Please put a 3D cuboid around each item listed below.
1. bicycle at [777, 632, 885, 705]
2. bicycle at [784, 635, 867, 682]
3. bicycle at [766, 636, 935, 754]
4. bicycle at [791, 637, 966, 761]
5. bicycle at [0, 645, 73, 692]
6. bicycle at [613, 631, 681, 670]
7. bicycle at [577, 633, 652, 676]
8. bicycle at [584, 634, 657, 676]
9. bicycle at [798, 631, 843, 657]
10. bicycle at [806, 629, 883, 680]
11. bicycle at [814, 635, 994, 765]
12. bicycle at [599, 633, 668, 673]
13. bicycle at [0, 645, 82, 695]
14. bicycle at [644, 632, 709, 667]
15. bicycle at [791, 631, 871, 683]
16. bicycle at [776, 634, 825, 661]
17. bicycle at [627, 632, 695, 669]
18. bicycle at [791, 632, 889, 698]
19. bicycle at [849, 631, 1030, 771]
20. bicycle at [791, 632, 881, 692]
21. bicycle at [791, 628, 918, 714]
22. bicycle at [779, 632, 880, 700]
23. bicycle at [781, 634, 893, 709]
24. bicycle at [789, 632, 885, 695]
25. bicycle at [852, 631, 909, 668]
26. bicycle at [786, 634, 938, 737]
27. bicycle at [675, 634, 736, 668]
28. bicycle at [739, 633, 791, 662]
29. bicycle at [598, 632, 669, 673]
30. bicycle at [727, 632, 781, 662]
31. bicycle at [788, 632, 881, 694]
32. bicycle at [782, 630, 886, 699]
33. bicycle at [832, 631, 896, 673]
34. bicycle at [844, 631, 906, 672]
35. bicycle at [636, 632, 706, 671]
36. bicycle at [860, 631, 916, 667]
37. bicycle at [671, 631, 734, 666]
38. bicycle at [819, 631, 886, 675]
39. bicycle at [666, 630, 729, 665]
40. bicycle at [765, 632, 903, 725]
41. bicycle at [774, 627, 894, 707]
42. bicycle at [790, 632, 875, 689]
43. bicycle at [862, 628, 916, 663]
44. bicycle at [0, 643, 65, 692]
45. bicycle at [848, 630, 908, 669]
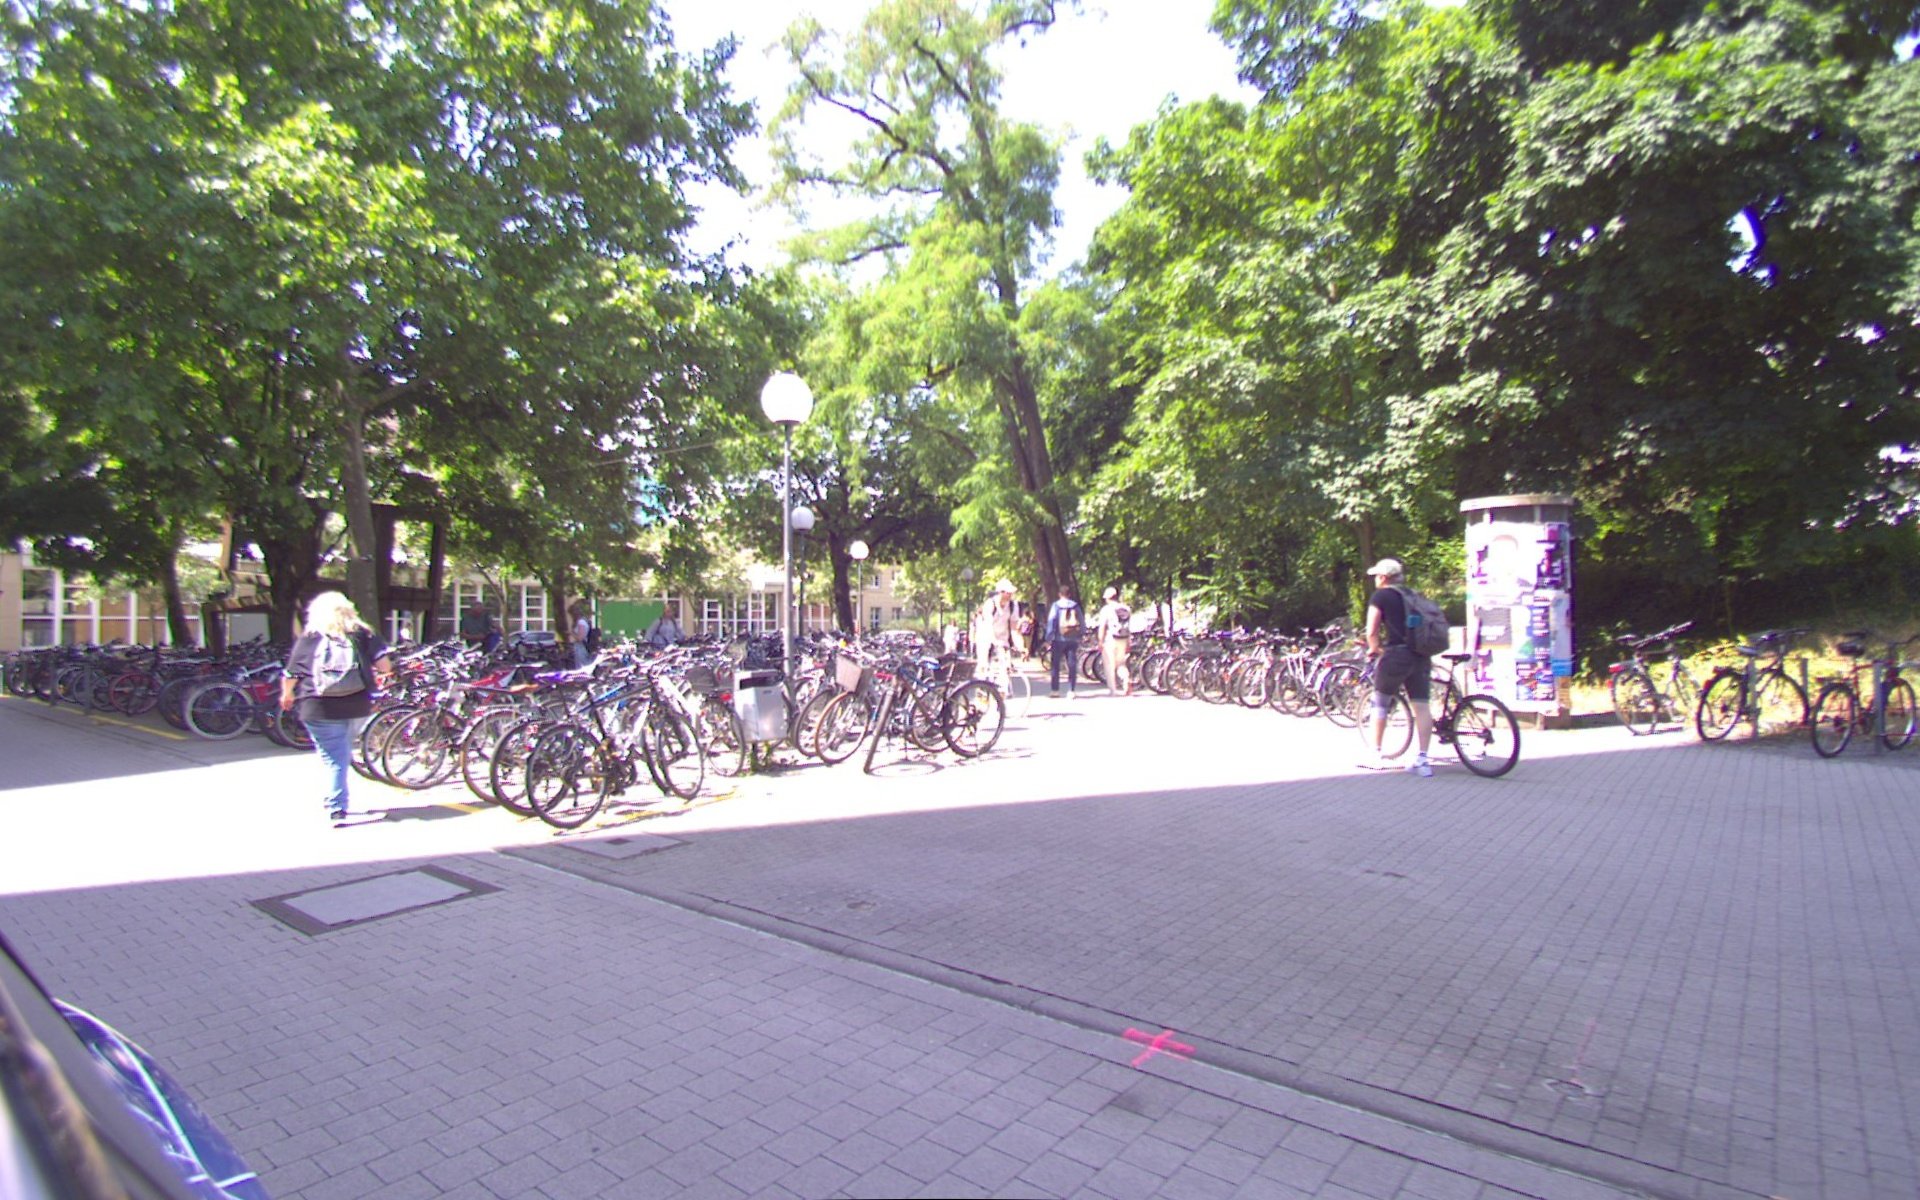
[{"bbox_3d":[-2.082,1.086,16.345,1.671,1.092,0.475,-1,-1,-15],"label":"bicycle"},{"bbox_3d":[-2.874,1.249,21.692,1.716,0.969,0.452,-1,-1,1],"label":"bicycle"},{"bbox_3d":[-1.107,0.942,10.414,1.671,1.092,0.475,-1,-1,-31],"label":"bicycle"},{"bbox_3d":[-0.791,0.940,10.001,1.671,1.092,0.475,-1,-1,-31],"label":"bicycle"},{"bbox_3d":[-23.098,1.691,25.090,0.496,1.116,1.608,-5,-4,39],"label":"bicycle"},{"bbox_3d":[-9.200,1.487,29.758,1.885,1.116,0.501,-1,-1,10],"label":"bicycle"},{"bbox_3d":[-9.336,1.464,27.351,1.883,1.116,0.502,-1,-1,7],"label":"bicycle"},{"bbox_3d":[-9.356,1.509,27.897,1.883,1.116,0.502,-1,-1,7],"label":"bicycle"},{"bbox_3d":[-6.218,1.969,45.083,2.015,1.116,0.499,-1,-1,21],"label":"bicycle"},{"bbox_3d":[-2.589,1.224,22.733,1.676,1.092,0.474,-1,-1,1],"label":"bicycle"},{"bbox_3d":[-0.506,0.900,9.555,1.695,1.092,0.475,-1,-1,-36],"label":"bicycle"},{"bbox_3d":[-9.402,1.517,29.144,1.885,1.116,0.501,-1,-1,10],"label":"bicycle"},{"bbox_3d":[-21.865,1.661,23.954,1.604,1.116,0.498,0,-4,-39],"label":"bicycle"},{"bbox_3d":[-9.173,1.601,32.772,1.983,1.116,0.501,-1,-1,10],"label":"bicycle"},{"bbox_3d":[-2.815,1.252,22.190,1.676,1.092,0.474,-1,-1,1],"label":"bicycle"},{"bbox_3d":[-6.844,2.057,43.432,2.010,1.116,0.501,-1,-1,13],"label":"bicycle"},{"bbox_3d":[-9.283,1.574,31.422,1.983,1.116,0.501,-1,-1,10],"label":"bicycle"},{"bbox_3d":[-2.153,1.148,18.128,1.671,1.092,0.475,-1,-1,-15],"label":"bicycle"},{"bbox_3d":[-0.154,0.863,9.161,1.672,1.118,0.475,-1,-1,-38],"label":"bicycle"},{"bbox_3d":[-2.416,1.197,19.752,1.671,1.092,0.475,-1,-1,-15],"label":"bicycle"},{"bbox_3d":[-1.450,0.953,13.852,1.671,1.092,0.475,-1,-1,-12],"label":"bicycle"},{"bbox_3d":[-2.264,1.130,17.541,1.671,1.092,0.475,-1,-1,-15],"label":"bicycle"},{"bbox_3d":[-1.934,1.101,15.876,1.671,1.092,0.475,-1,-1,-15],"label":"bicycle"},{"bbox_3d":[-2.266,1.160,18.643,1.671,1.092,0.475,-1,-1,-15],"label":"bicycle"},{"bbox_3d":[-2.422,1.503,30.790,1.676,1.092,0.474,-1,-1,1],"label":"bicycle"},{"bbox_3d":[-1.125,0.953,11.562,1.672,1.092,0.475,-1,-1,-9],"label":"bicycle"},{"bbox_3d":[-8.841,1.778,35.194,2.006,1.116,0.502,-1,-1,7],"label":"bicycle"},{"bbox_3d":[-7.788,1.889,40.450,2.010,1.116,0.501,-1,-1,13],"label":"bicycle"},{"bbox_3d":[-9.202,1.480,28.562,1.885,1.116,0.501,-1,-1,10],"label":"bicycle"},{"bbox_3d":[-7.932,1.821,38.996,2.010,1.116,0.501,-1,-1,13],"label":"bicycle"},{"bbox_3d":[-2.374,1.181,19.141,1.671,1.092,0.475,-1,-1,-15],"label":"bicycle"},{"bbox_3d":[-2.125,1.078,17.082,1.671,1.092,0.475,-1,-1,-15],"label":"bicycle"},{"bbox_3d":[-2.590,1.410,27.484,1.676,1.092,0.474,-1,-1,1],"label":"bicycle"},{"bbox_3d":[-2.381,1.443,28.483,1.676,1.092,0.474,-1,-1,1],"label":"bicycle"},{"bbox_3d":[-8.631,1.538,30.207,1.983,1.116,0.501,-1,-1,10],"label":"bicycle"},{"bbox_3d":[-2.253,1.532,31.737,1.679,1.092,0.473,-1,-1,6],"label":"bicycle"},{"bbox_3d":[-8.616,1.615,33.858,2.006,1.116,0.502,-1,-1,7],"label":"bicycle"},{"bbox_3d":[-2.792,1.368,26.259,1.676,1.092,0.474,-1,-1,1],"label":"bicycle"},{"bbox_3d":[-8.926,1.616,34.429,2.006,1.116,0.502,-1,-1,7],"label":"bicycle"},{"bbox_3d":[-1.578,0.967,12.696,1.672,1.092,0.475,-1,-1,-9],"label":"bicycle"},{"bbox_3d":[-1.840,0.965,14.799,1.671,1.092,0.475,-1,-1,-15],"label":"bicycle"},{"bbox_3d":[-2.589,1.215,20.508,1.673,1.092,0.475,-1,-1,-8],"label":"bicycle"},{"bbox_3d":[-2.297,1.479,32.934,1.681,1.092,0.472,-1,-1,11],"label":"bicycle"},{"bbox_3d":[-22.599,1.626,24.289,0.496,1.116,1.608,-5,-4,39],"label":"bicycle"},{"bbox_3d":[-2.382,1.428,29.466,1.676,1.092,0.474,-1,-1,1],"label":"bicycle"}]
